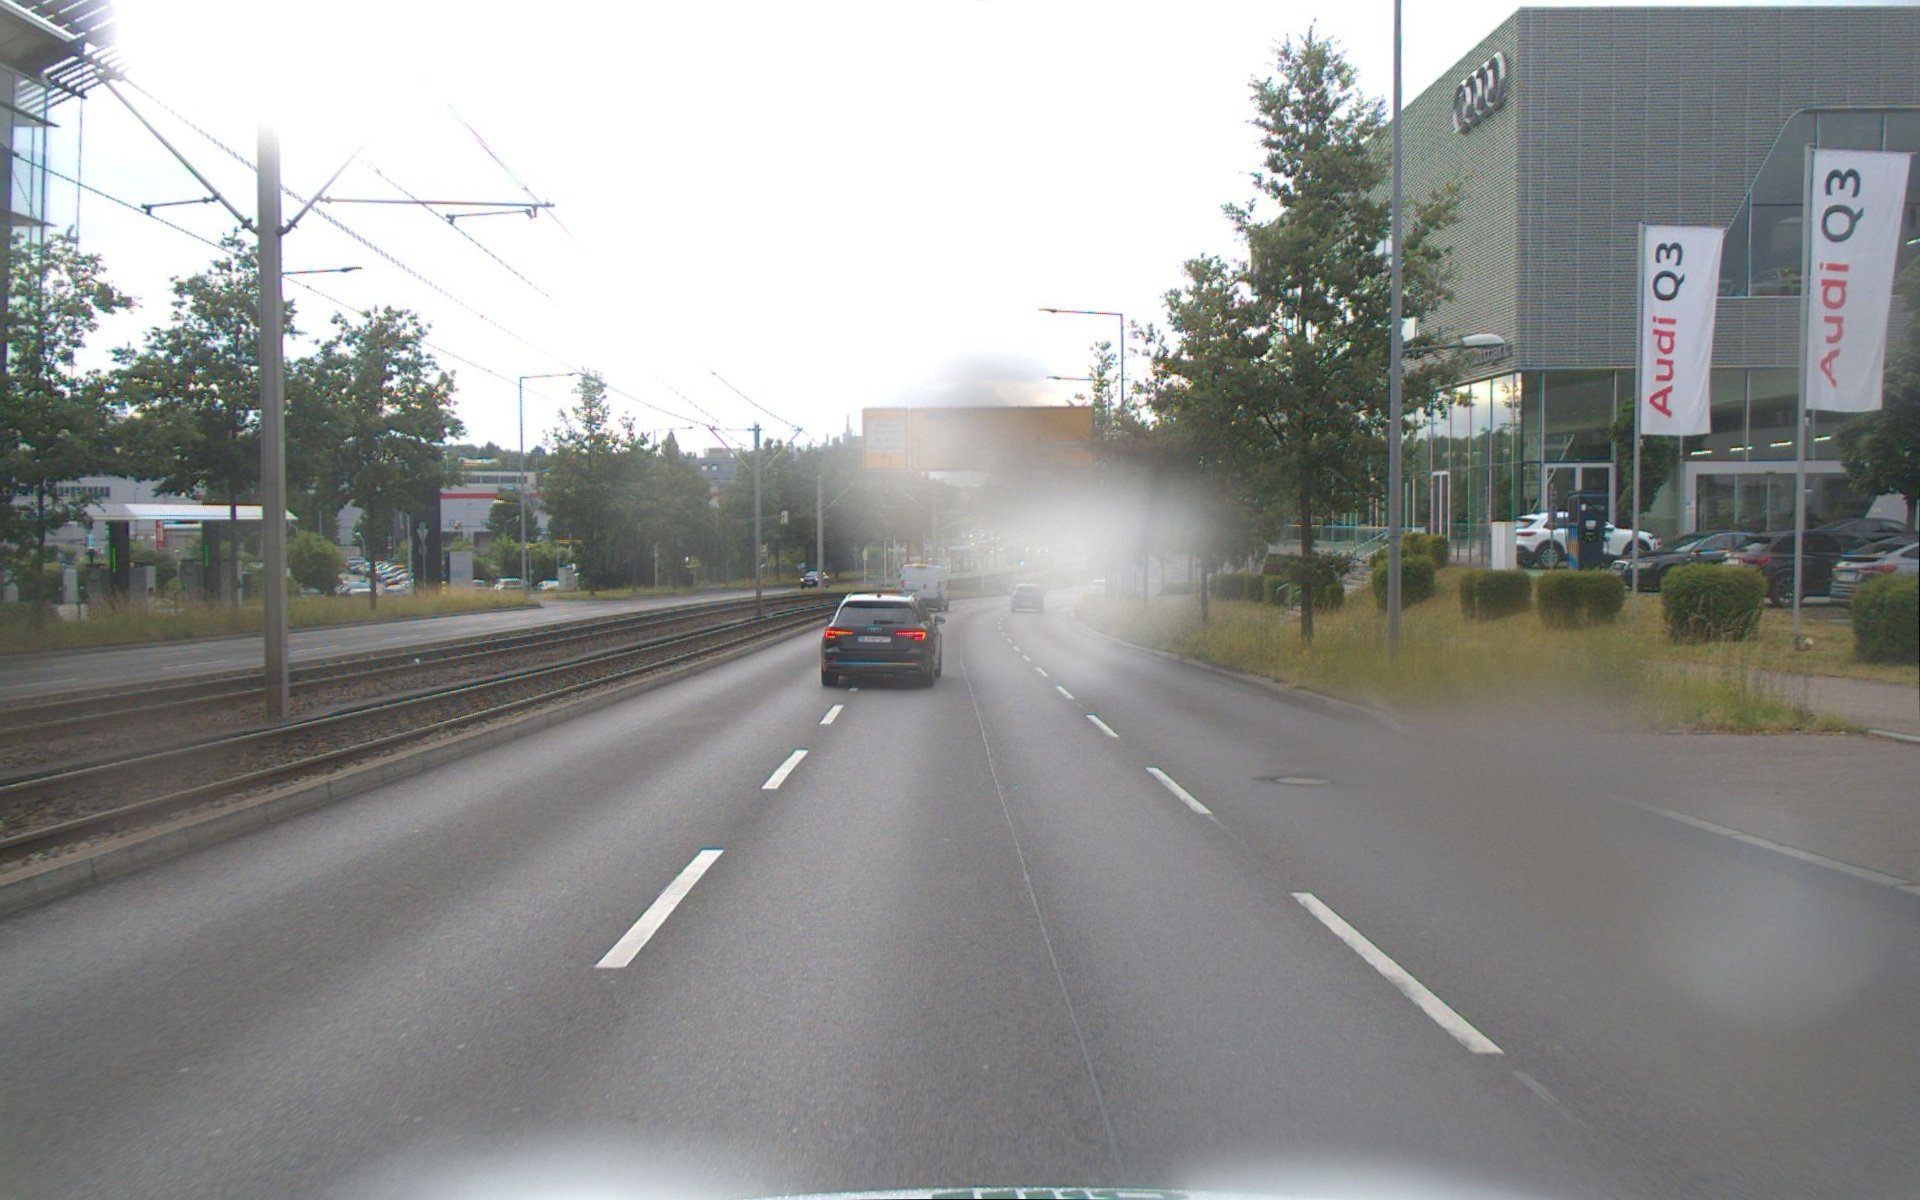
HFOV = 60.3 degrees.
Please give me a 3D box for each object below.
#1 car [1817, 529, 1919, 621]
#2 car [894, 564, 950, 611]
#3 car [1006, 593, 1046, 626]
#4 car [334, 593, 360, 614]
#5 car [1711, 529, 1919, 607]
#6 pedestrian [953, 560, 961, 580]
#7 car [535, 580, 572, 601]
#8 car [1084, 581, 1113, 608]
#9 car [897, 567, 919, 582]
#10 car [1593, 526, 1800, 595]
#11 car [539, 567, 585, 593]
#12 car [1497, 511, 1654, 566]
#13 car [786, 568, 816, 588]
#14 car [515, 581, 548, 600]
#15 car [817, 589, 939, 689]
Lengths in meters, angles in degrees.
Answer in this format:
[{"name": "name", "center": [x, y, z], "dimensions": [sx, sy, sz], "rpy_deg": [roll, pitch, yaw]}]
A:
[{"name": "car", "center": [18.303, -0.453, 30.604], "dimensions": [4.022, 1.636, 1.692], "rpy_deg": [1, 1, -2]}, {"name": "car", "center": [-1.852, -0.605, 83.089], "dimensions": [2.459, 2.215, 5.151], "rpy_deg": [1, 0, 2]}, {"name": "car", "center": [3.466, 0.500, 86.641], "dimensions": [1.979, 1.651, 4.001], "rpy_deg": [1, 0, 3]}, {"name": "car", "center": [-45.428, 0.257, 122.546], "dimensions": [1.727, 1.520, 3.974], "rpy_deg": [2, 0, -21]}, {"name": "car", "center": [18.458, -0.679, 35.352], "dimensions": [4.022, 1.601, 1.692], "rpy_deg": [1, 1, -2]}, {"name": "pedestrian", "center": [-0.305, -3.017, 166.398], "dimensions": [0.623, 1.886, 0.751], "rpy_deg": [1, -1, 11]}, {"name": "car", "center": [-31.829, -0.746, 129.421], "dimensions": [1.969, 1.536, 3.967], "rpy_deg": [2, 0, -26]}, {"name": "car", "center": [10.214, -0.435, 122.176], "dimensions": [1.979, 1.800, 4.003], "rpy_deg": [1, 3, 2]}, {"name": "car", "center": [-6.075, -2.961, 192.459], "dimensions": [1.951, 1.709, 4.003], "rpy_deg": [1, 1, 7]}, {"name": "car", "center": [18.071, -0.966, 40.680], "dimensions": [4.331, 1.601, 1.692], "rpy_deg": [1, 1, -2]}, {"name": "car", "center": [-27.515, -1.353, 114.441], "dimensions": [1.951, 1.679, 4.002], "rpy_deg": [1, 0, 4]}, {"name": "car", "center": [18.892, -1.878, 50.879], "dimensions": [4.173, 1.601, 1.692], "rpy_deg": [1, 1, -2]}, {"name": "car", "center": [-13.167, -1.823, 137.265], "dimensions": [1.844, 1.547, 4.405], "rpy_deg": [-3, 1, 2]}, {"name": "car", "center": [-36.460, -0.800, 140.571], "dimensions": [1.969, 1.536, 3.967], "rpy_deg": [2, 0, -26]}, {"name": "car", "center": [-1.250, 0.572, 27.080], "dimensions": [1.728, 1.489, 4.627], "rpy_deg": [1, 0, 0]}]
